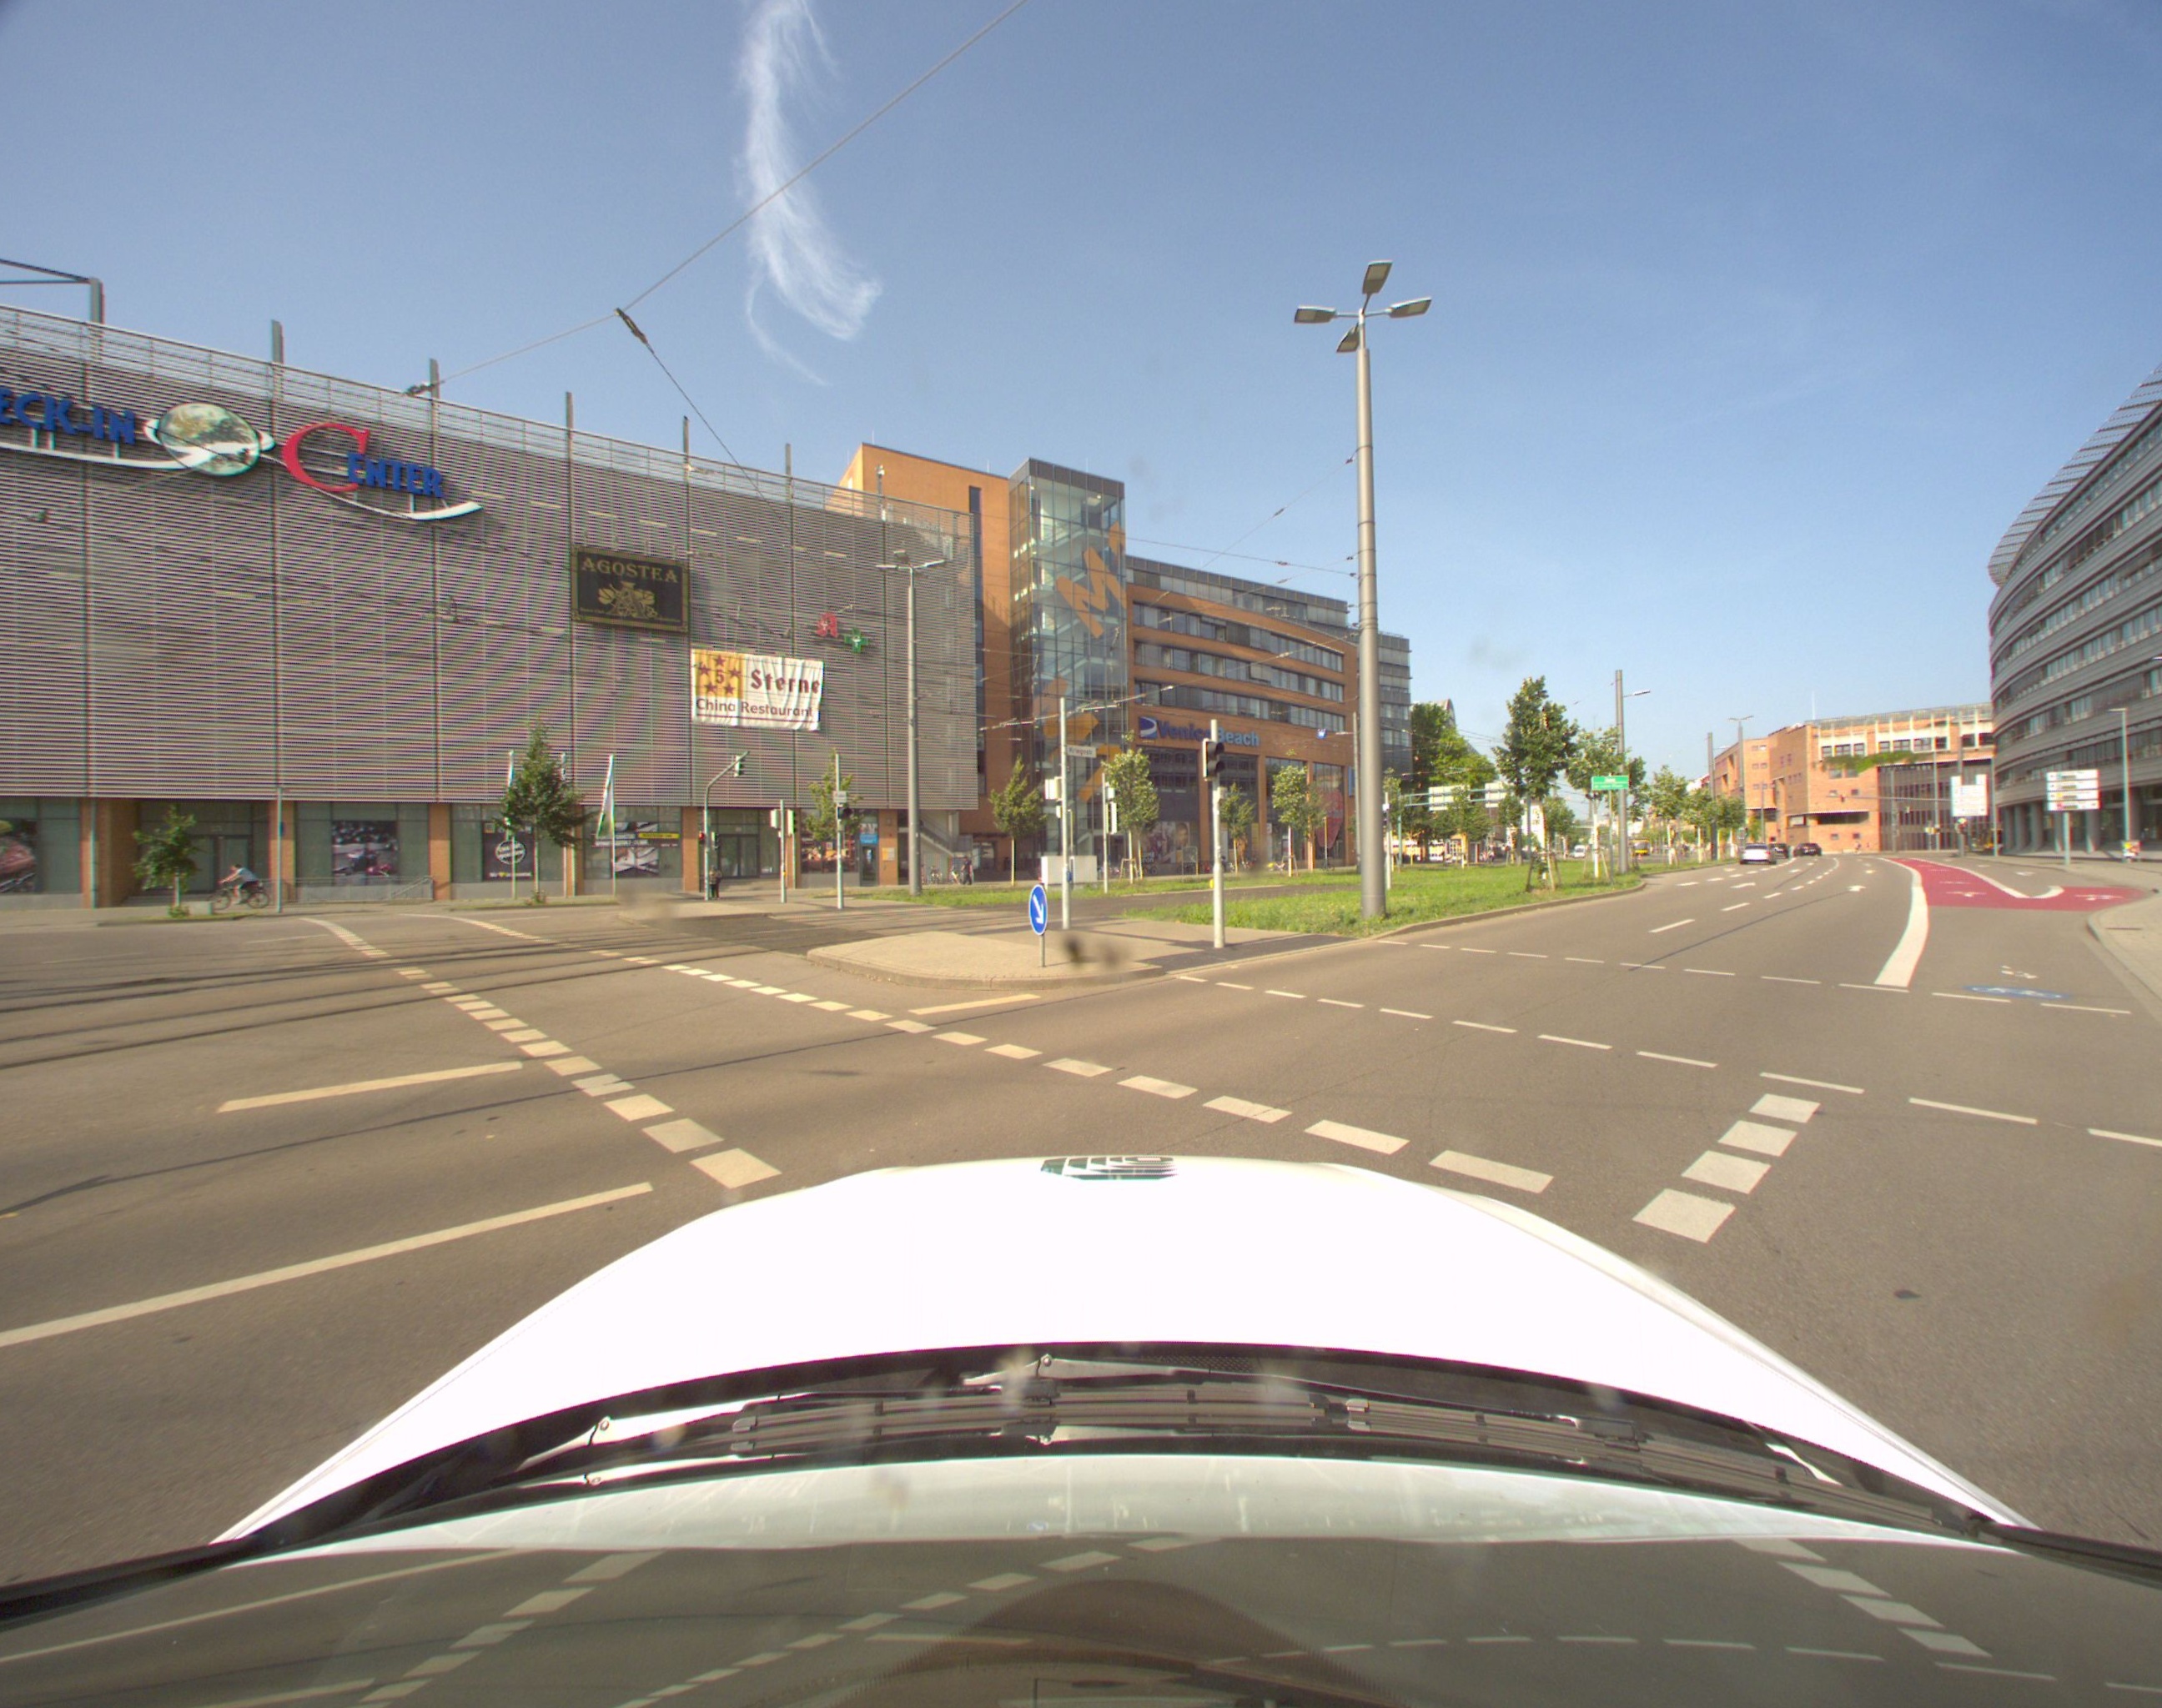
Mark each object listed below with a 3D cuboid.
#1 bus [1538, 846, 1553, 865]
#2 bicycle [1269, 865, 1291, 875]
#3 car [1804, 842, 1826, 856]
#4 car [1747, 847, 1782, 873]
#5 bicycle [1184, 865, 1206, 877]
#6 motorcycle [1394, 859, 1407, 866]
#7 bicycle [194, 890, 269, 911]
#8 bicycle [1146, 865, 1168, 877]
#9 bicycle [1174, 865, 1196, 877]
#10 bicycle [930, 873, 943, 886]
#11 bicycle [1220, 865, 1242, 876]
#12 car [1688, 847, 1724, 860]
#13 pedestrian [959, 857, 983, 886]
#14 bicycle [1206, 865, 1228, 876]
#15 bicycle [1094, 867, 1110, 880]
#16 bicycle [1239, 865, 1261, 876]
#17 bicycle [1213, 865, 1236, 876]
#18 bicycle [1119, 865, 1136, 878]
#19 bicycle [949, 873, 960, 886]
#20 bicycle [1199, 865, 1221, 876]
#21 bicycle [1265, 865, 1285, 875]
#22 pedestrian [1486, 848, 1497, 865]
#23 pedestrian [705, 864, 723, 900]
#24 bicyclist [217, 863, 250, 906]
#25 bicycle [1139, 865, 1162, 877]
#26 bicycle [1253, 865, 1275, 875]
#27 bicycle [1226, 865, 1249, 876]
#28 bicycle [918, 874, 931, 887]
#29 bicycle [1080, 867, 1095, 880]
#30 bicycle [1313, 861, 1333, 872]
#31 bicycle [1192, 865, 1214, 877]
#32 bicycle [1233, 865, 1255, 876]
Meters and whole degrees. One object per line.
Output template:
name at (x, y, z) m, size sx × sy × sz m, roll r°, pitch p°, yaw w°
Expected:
bus at (101.347, 0.440, 177.691) m, size 2.720 × 3.922 × 12.291 m, roll -1°, pitch -2°, yaw 30°
bicycle at (18.160, 1.470, 74.267) m, size 0.576 × 0.921 × 2.032 m, roll 0°, pitch -1°, yaw -36°
car at (84.310, -0.594, 93.524) m, size 1.756 × 1.509 × 3.542 m, roll -2°, pitch -2°, yaw 40°
car at (47.914, 0.470, 57.059) m, size 1.689 × 1.755 × 3.913 m, roll -2°, pitch -2°, yaw 42°
bicycle at (9.386, 1.402, 67.281) m, size 0.576 × 0.921 × 2.032 m, roll 0°, pitch -1°, yaw -36°
motorcycle at (46.271, 1.266, 118.035) m, size 1.673 × 0.995 × 0.286 m, roll -1°, pitch 1°, yaw 35°
bicycle at (-32.709, 1.775, 31.392) m, size 1.875 × 0.779 × 0.576 m, roll 1°, pitch -2°, yaw -32°
bicycle at (6.046, 1.335, 64.817) m, size 0.576 × 0.921 × 2.032 m, roll 0°, pitch -1°, yaw -36°
bicycle at (8.466, 1.382, 66.508) m, size 0.576 × 0.921 × 2.032 m, roll 0°, pitch -1°, yaw -36°
bicycle at (-8.810, 1.565, 49.525) m, size 0.453 × 0.752 × 0.996 m, roll -1°, pitch -1°, yaw -30°
bicycle at (12.883, 1.398, 70.088) m, size 0.576 × 0.921 × 2.032 m, roll 0°, pitch -1°, yaw -36°
car at (80.006, -0.101, 104.253) m, size 3.577 × 1.624 × 1.879 m, roll 0°, pitch 0°, yaw 36°
pedestrian at (-6.710, 1.050, 49.642) m, size 1.180 × 1.719 × 0.812 m, roll -1°, pitch -1°, yaw -31°
bicycle at (11.503, 1.392, 68.950) m, size 0.576 × 0.921 × 2.032 m, roll 0°, pitch -1°, yaw -36°
bicycle at (1.480, 1.368, 57.632) m, size 0.258 × 0.830 × 1.452 m, roll 1°, pitch 0°, yaw -35°
bicycle at (14.928, 1.444, 71.800) m, size 0.576 × 0.921 × 2.032 m, roll 0°, pitch -1°, yaw -36°
bicycle at (12.239, 1.423, 69.505) m, size 0.576 × 0.921 × 2.032 m, roll 0°, pitch -1°, yaw -36°
bicycle at (3.351, 1.248, 58.600) m, size 0.412 × 0.940 × 1.569 m, roll 0°, pitch -1°, yaw -30°
bicycle at (-7.779, 1.548, 50.130) m, size 0.362 × 0.752 × 1.014 m, roll -1°, pitch -1°, yaw -30°
bicycle at (10.831, 1.409, 68.437) m, size 0.576 × 0.921 × 2.032 m, roll 0°, pitch -1°, yaw -36°
bicycle at (17.593, 1.457, 73.791) m, size 0.382 × 0.921 × 2.032 m, roll 0°, pitch -1°, yaw -36°
pedestrian at (51.307, 0.316, 101.773) m, size 1.144 × 2.014 × 0.781 m, roll -1°, pitch -2°, yaw 31°
pedestrian at (-16.550, 1.266, 36.760) m, size 0.592 × 1.579 × 0.755 m, roll 0°, pitch -1°, yaw -35°
bicyclist at (-32.701, 1.179, 31.424) m, size 0.717 × 1.630 × 0.563 m, roll 1°, pitch -2°, yaw -33°
bicycle at (5.470, 1.322, 64.352) m, size 0.576 × 0.921 × 2.032 m, roll 0°, pitch -1°, yaw -36°
bicycle at (16.362, 1.437, 72.684) m, size 0.576 × 0.921 × 2.032 m, roll 0°, pitch -1°, yaw -36°
bicycle at (13.564, 1.414, 70.620) m, size 0.576 × 0.921 × 2.032 m, roll 0°, pitch -1°, yaw -36°
bicycle at (-9.454, 1.585, 49.162) m, size 0.453 × 0.752 × 0.996 m, roll -1°, pitch -1°, yaw -30°
bicycle at (0.431, 1.339, 56.784) m, size 0.258 × 0.887 × 1.452 m, roll 1°, pitch -2°, yaw -35°
bicycle at (20.789, 1.043, 69.945) m, size 0.712 × 0.907 × 1.664 m, roll 0°, pitch -1°, yaw -31°
bicycle at (10.167, 1.420, 67.862) m, size 0.576 × 0.921 × 2.032 m, roll 0°, pitch -1°, yaw -36°
bicycle at (14.236, 1.442, 71.214) m, size 0.576 × 0.921 × 2.032 m, roll 0°, pitch -1°, yaw -36°
